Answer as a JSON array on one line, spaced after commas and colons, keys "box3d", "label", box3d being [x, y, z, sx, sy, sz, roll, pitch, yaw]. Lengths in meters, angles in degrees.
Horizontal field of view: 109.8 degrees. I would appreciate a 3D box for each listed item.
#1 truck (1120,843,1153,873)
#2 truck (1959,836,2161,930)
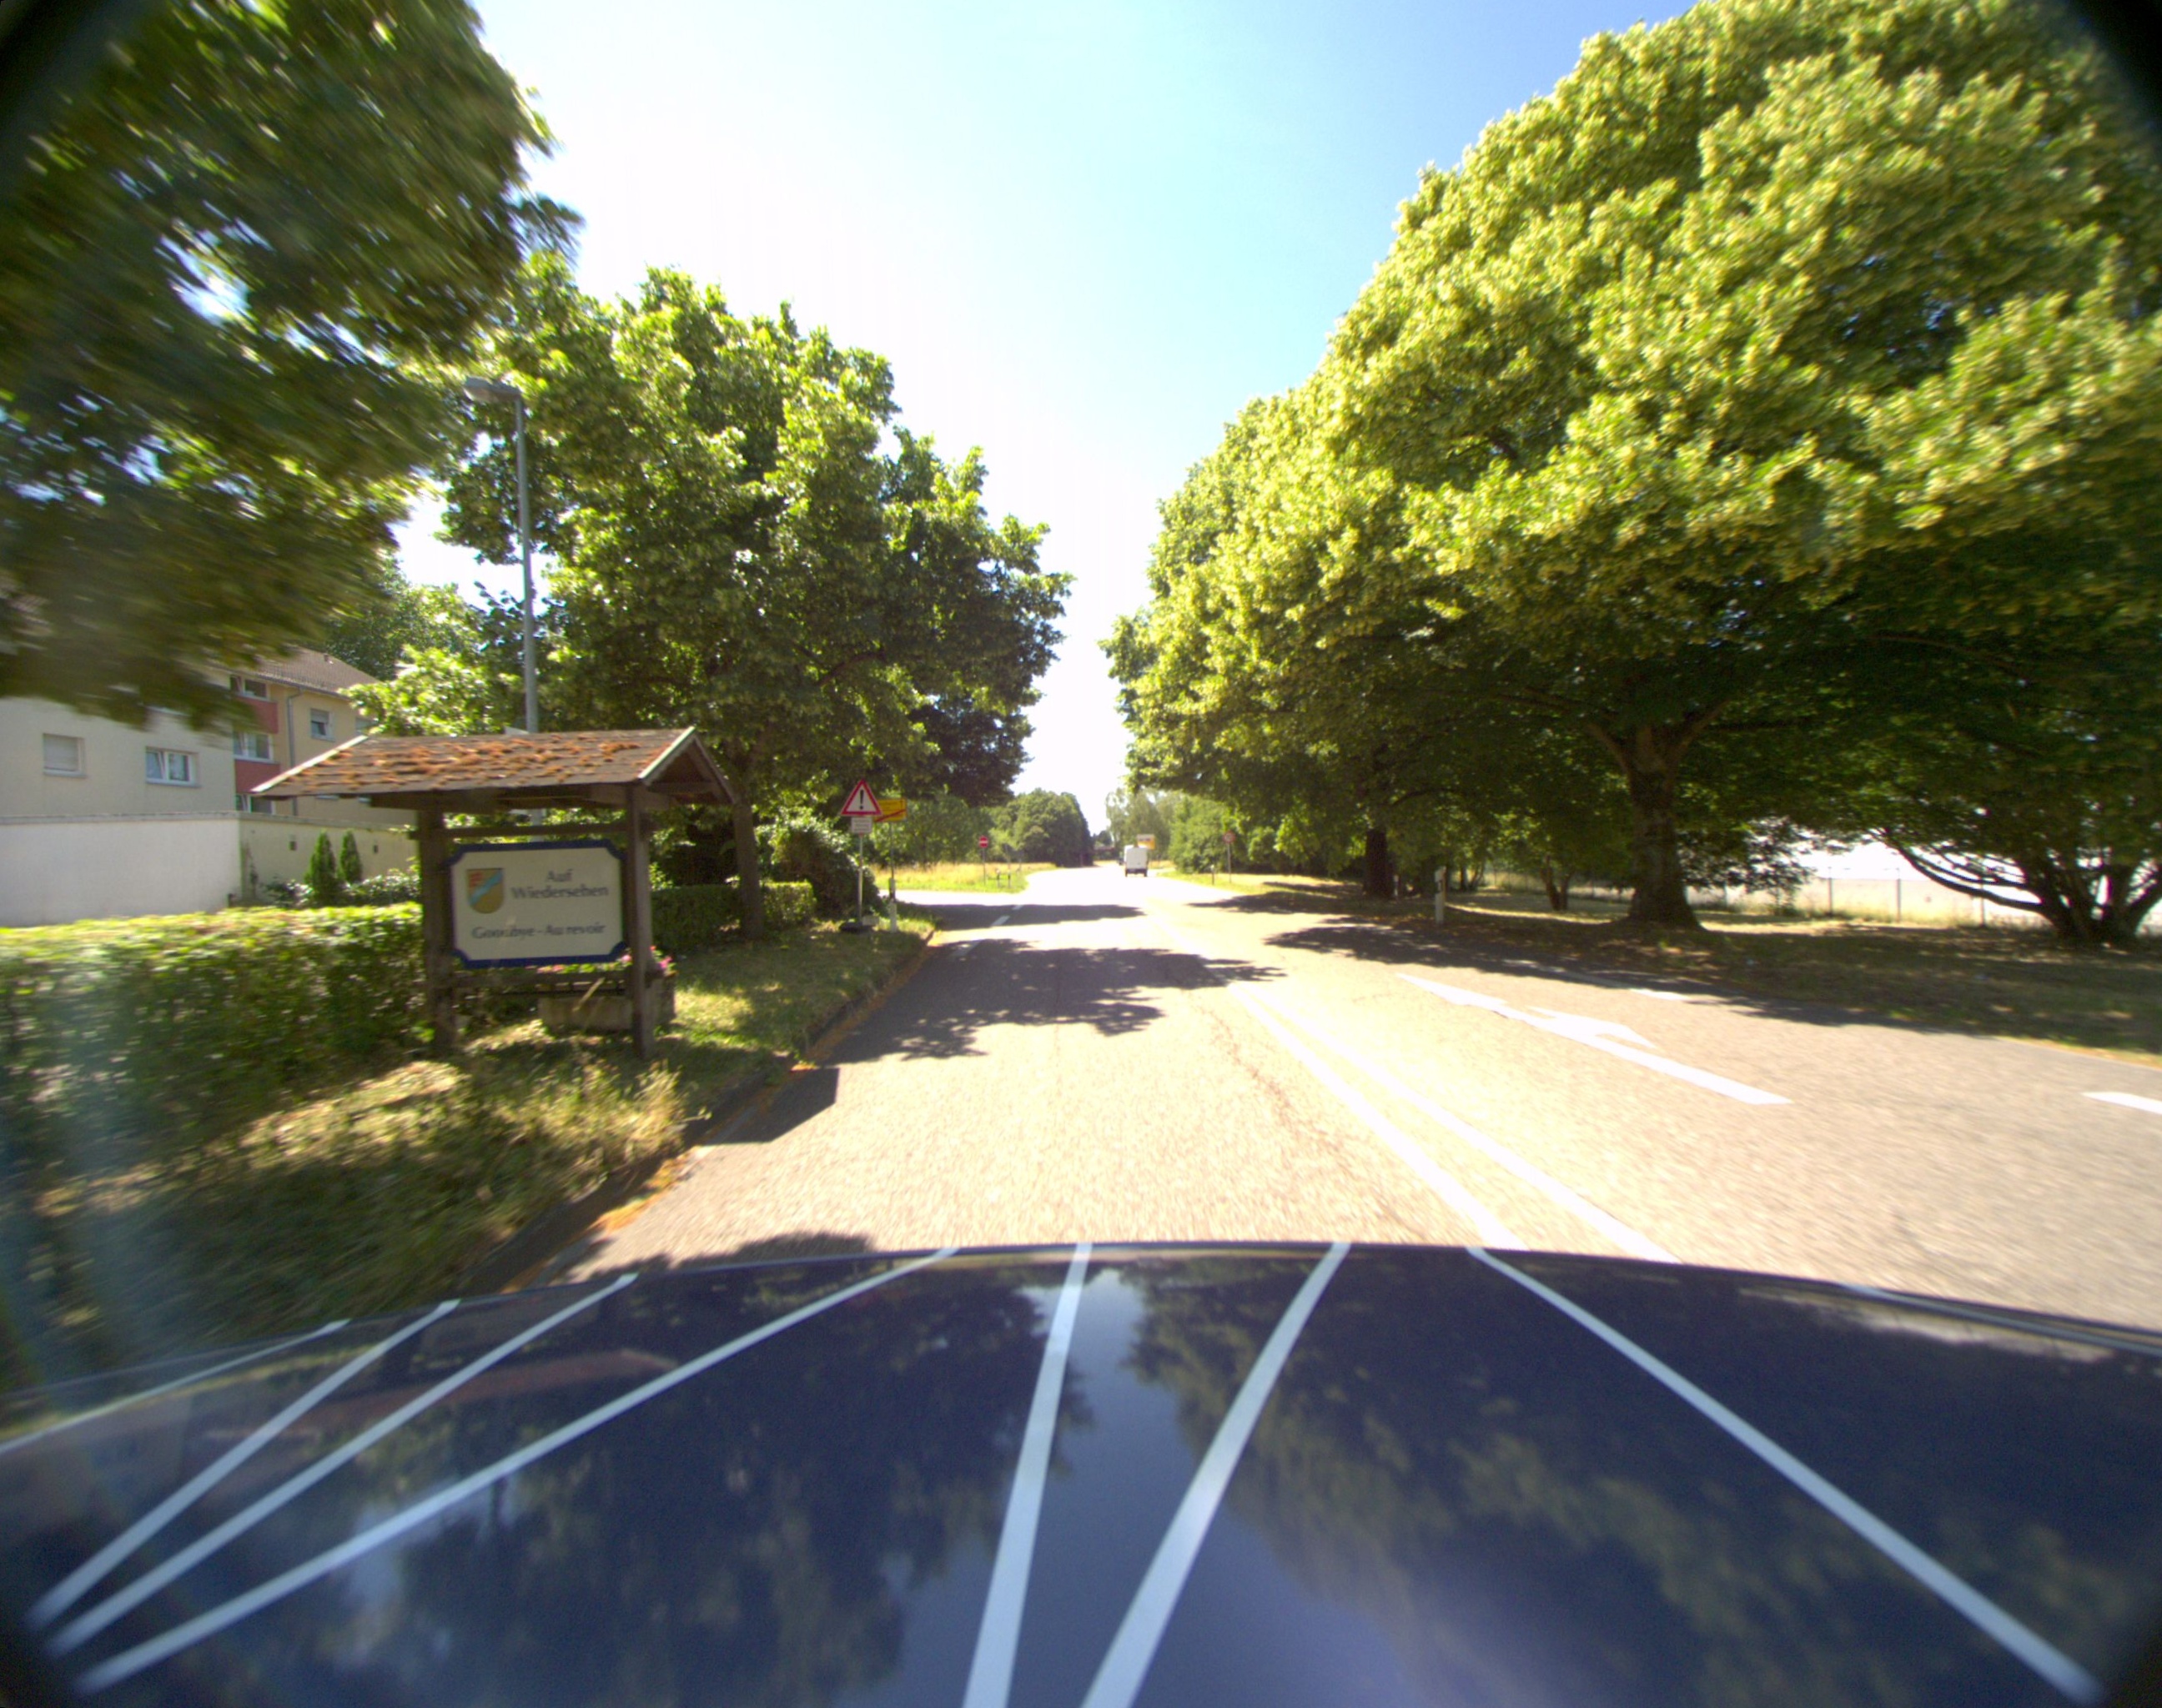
[{"box3d": [4.890, 0.336, 67.360, 2.304, 2.450, 5.340, -2, 1, -1], "label": "truck"}, {"box3d": [35.677, 0.911, 25.850, 2.439, 2.911, 8.165, -3, 0, 4], "label": "truck"}]
